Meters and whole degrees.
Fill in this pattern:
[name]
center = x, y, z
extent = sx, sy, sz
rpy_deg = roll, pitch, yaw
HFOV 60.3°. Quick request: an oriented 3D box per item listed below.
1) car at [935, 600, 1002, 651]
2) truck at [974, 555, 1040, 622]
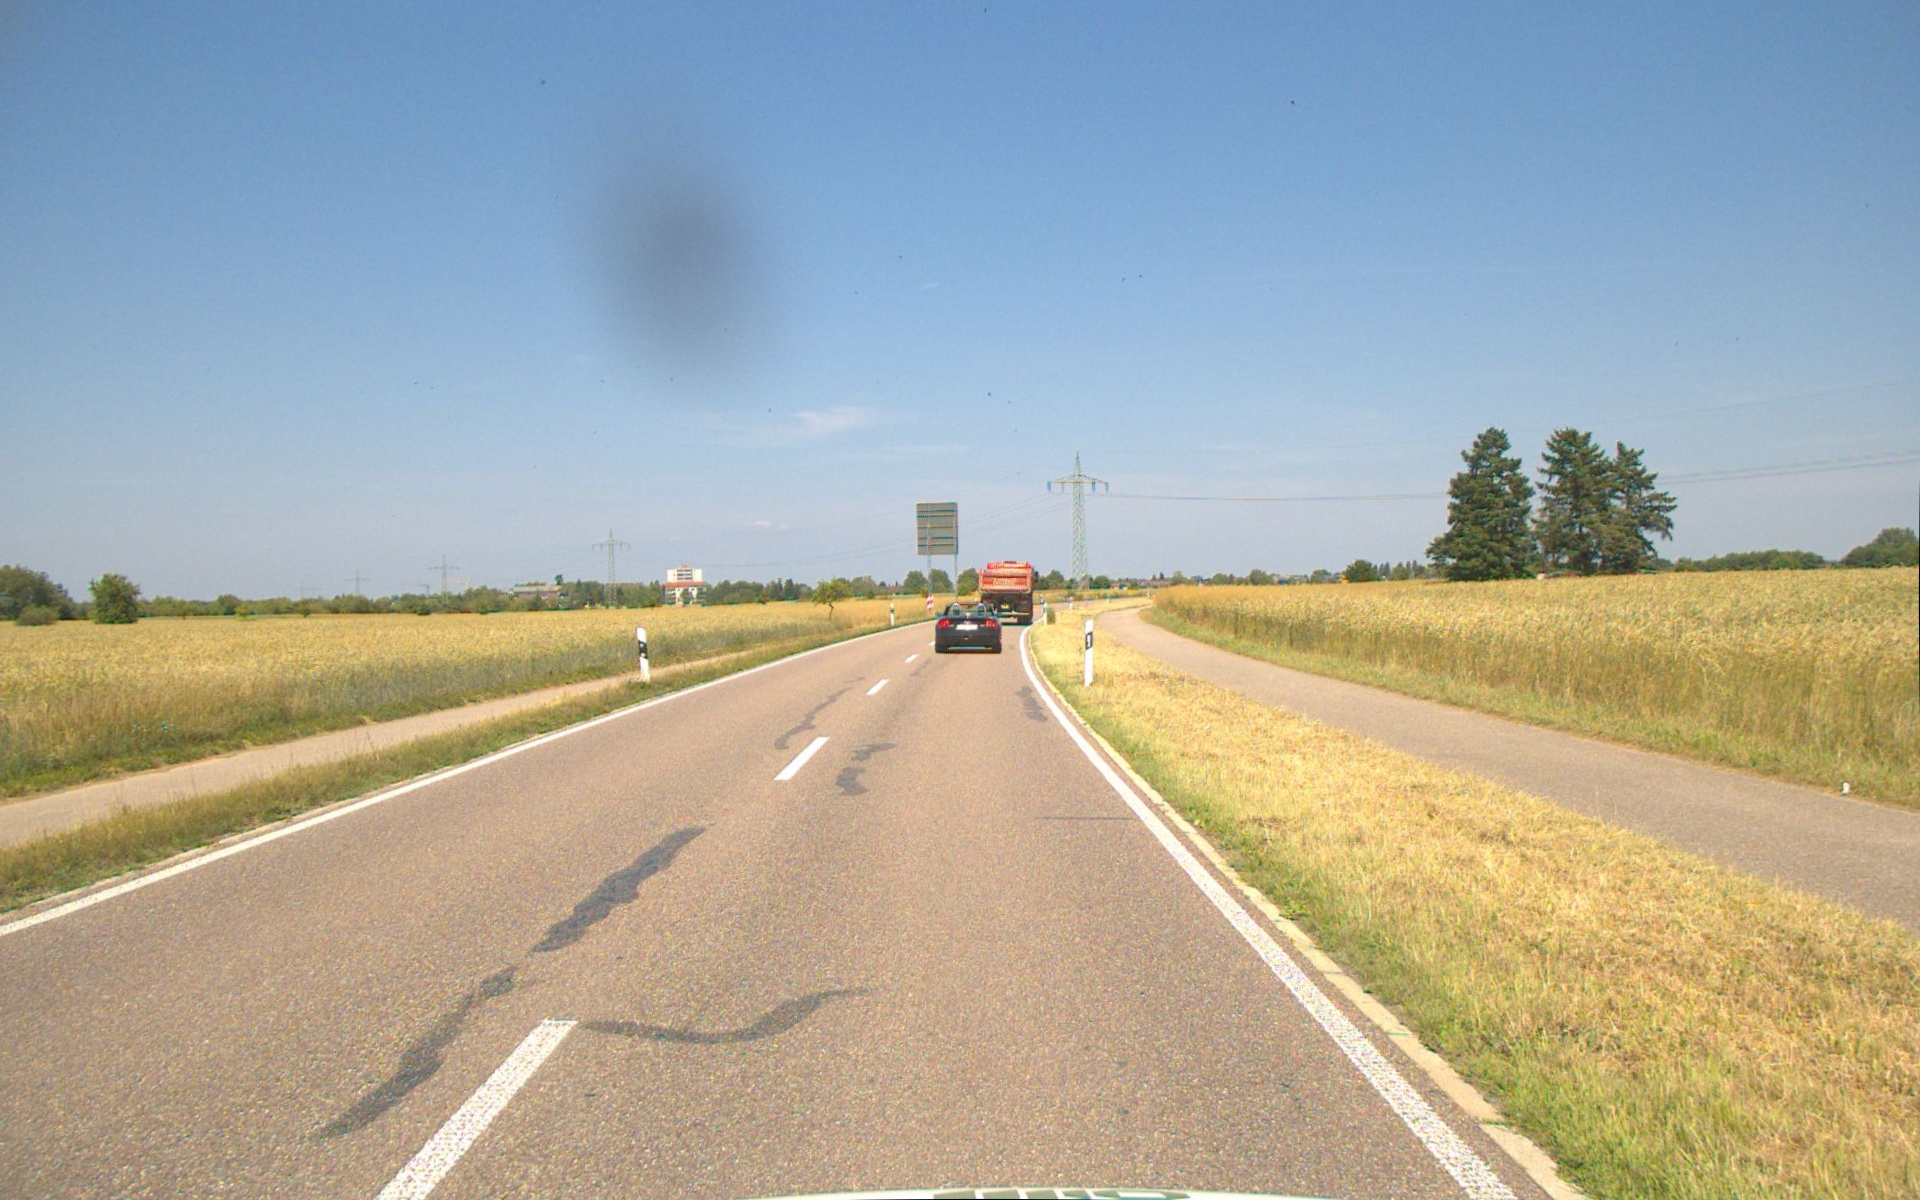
[car]
center = 0.262, 0.658, 44.132
extent = 1.708, 1.302, 4.000
rpy_deg = 0, -1, 1
[truck]
center = 2.414, -0.501, 82.287
extent = 2.876, 3.143, 7.200
rpy_deg = -1, -1, 5
